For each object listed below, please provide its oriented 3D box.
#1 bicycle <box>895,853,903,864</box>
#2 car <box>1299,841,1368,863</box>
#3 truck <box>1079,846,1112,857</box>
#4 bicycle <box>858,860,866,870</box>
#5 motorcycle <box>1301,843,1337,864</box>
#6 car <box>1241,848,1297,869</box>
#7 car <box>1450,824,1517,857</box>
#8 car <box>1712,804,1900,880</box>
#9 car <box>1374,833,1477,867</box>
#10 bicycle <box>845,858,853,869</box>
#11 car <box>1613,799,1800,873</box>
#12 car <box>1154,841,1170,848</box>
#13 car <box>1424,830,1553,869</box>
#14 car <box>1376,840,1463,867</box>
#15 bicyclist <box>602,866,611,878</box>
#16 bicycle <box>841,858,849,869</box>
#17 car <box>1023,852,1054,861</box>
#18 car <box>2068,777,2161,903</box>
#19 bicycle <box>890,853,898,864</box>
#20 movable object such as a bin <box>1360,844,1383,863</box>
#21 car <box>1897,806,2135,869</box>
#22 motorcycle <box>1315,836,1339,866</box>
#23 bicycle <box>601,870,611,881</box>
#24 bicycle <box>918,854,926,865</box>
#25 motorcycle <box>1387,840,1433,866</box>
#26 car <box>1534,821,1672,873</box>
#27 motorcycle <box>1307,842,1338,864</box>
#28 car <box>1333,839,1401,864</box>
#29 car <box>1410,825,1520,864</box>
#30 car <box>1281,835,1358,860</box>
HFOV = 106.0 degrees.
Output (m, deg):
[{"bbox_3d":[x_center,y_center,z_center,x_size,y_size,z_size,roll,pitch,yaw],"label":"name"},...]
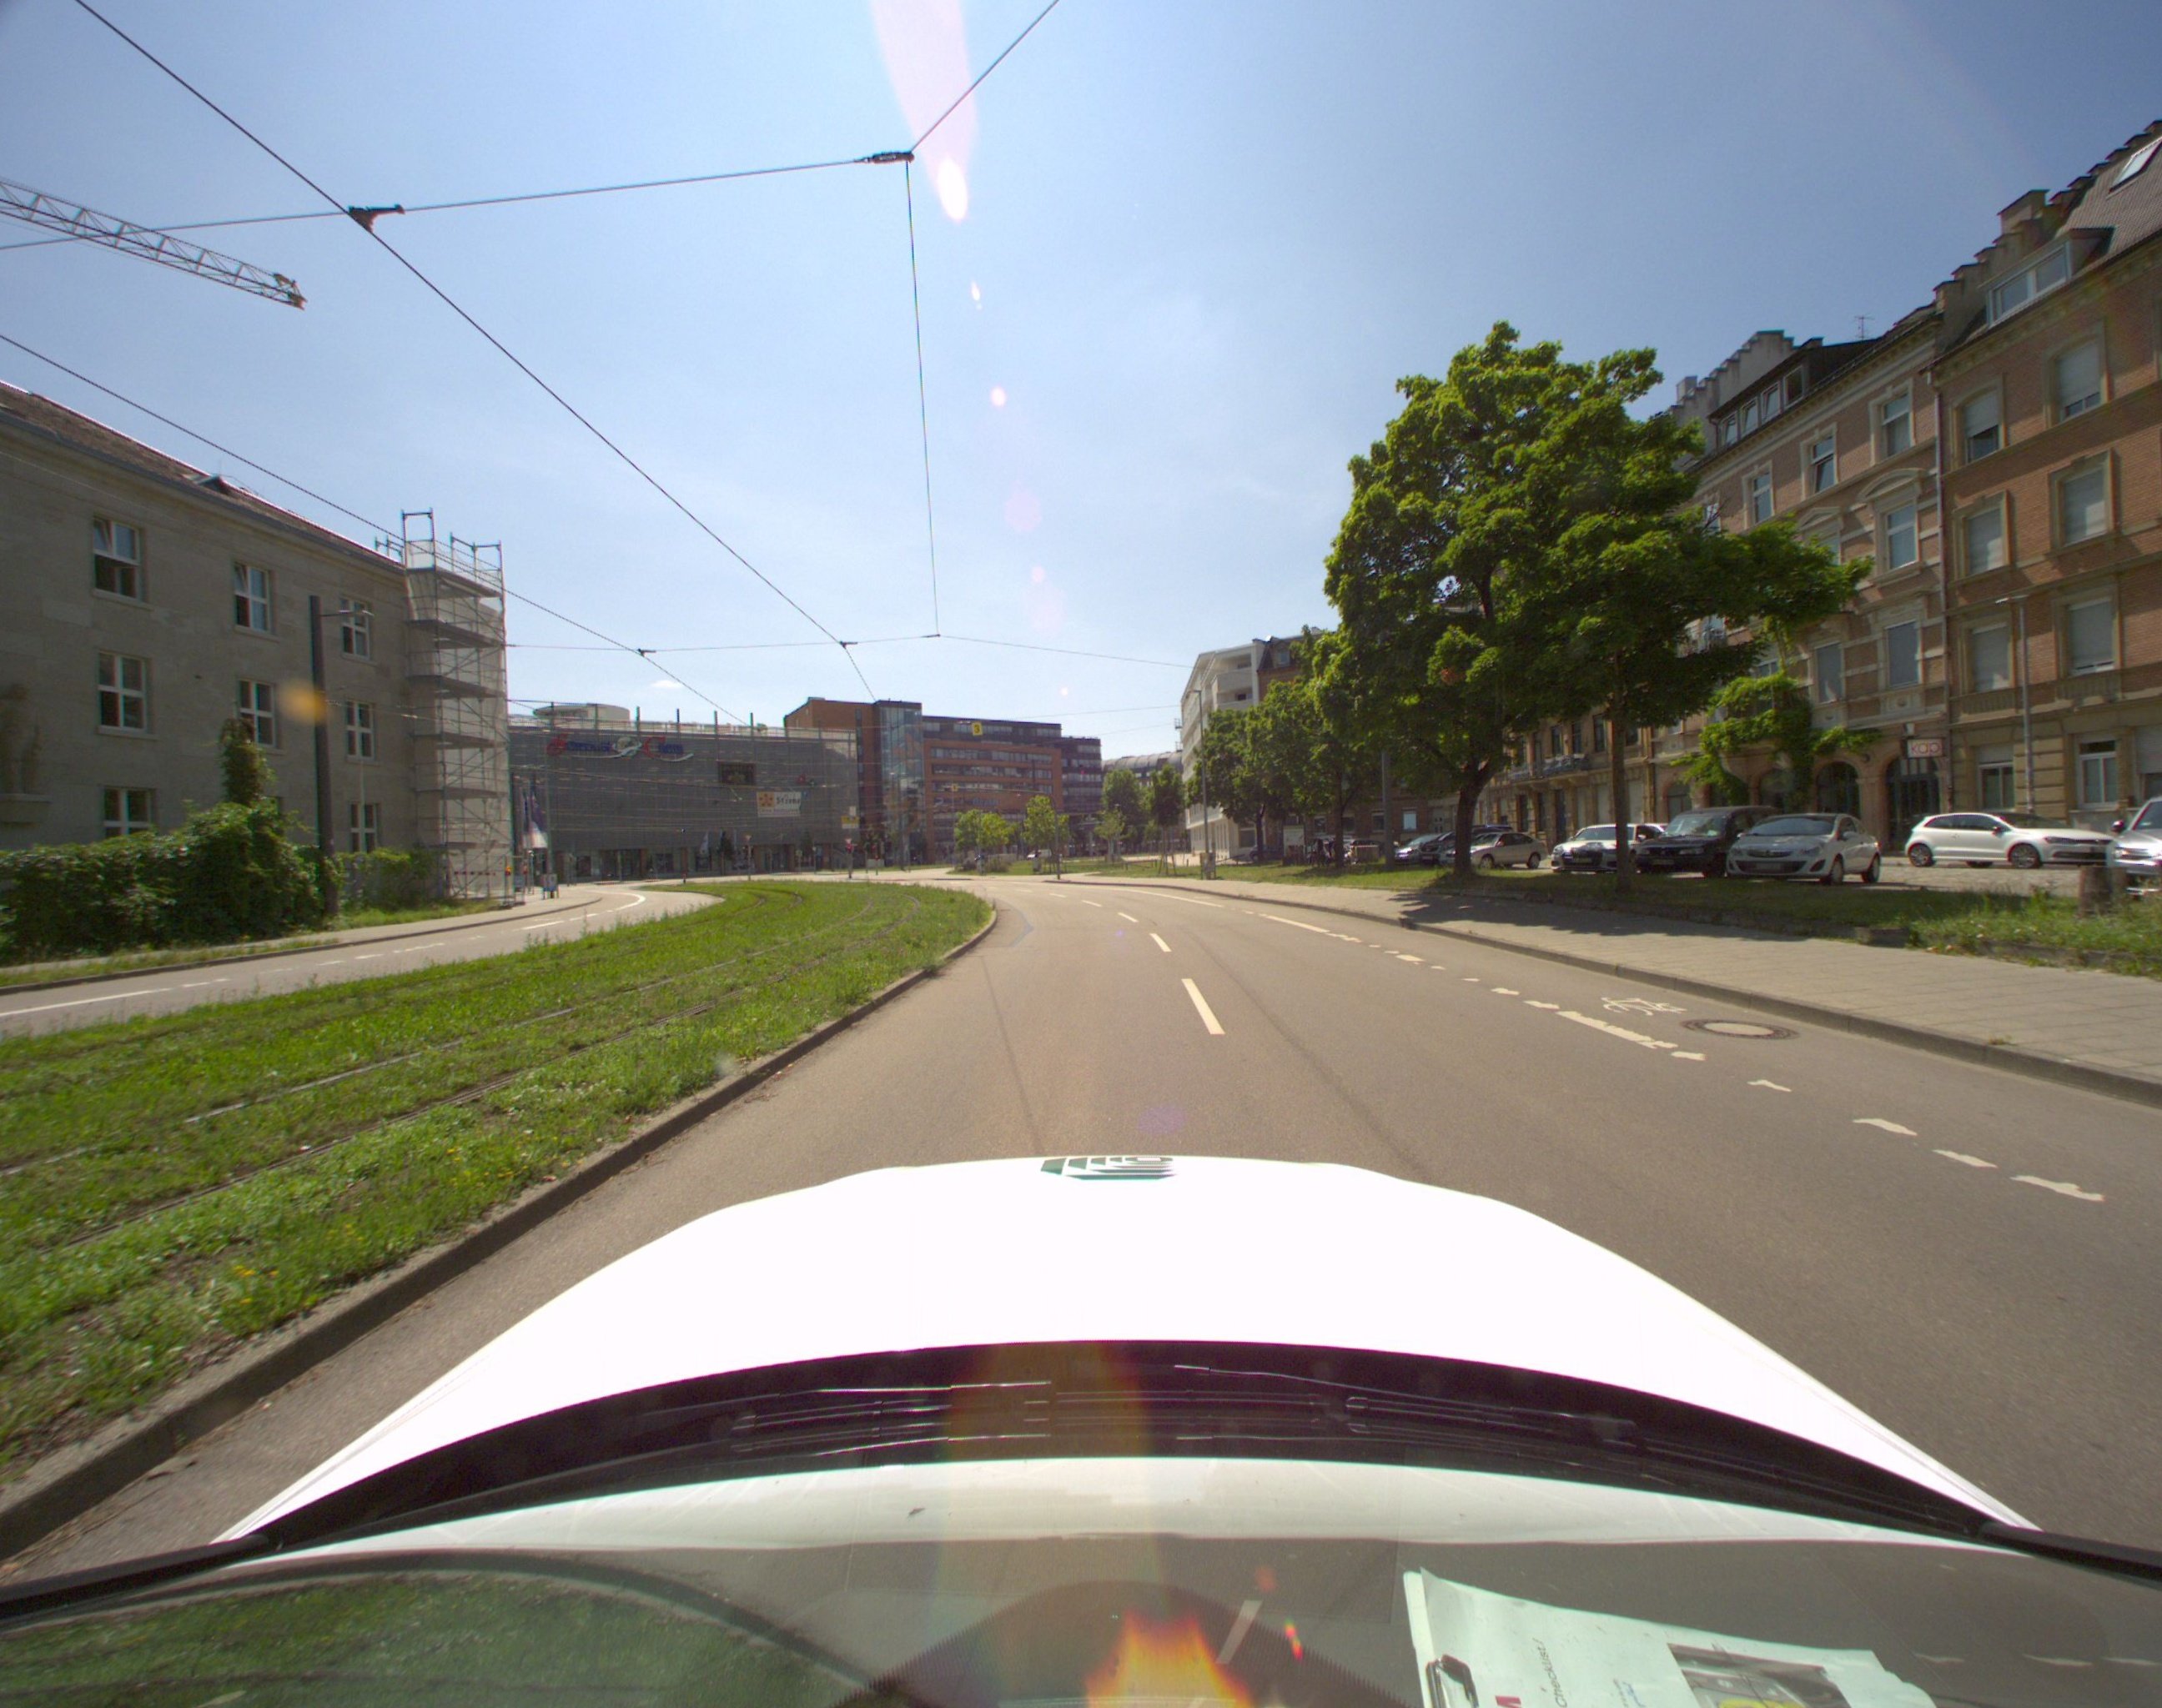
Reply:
[{"bbox_3d":[-31.700,0.778,141.736,0.488,2.013,2.322,-1,0,-33],"label":"bicycle"},{"bbox_3d":[15.761,-0.144,50.870,4.006,1.332,1.744,-1,0,-25],"label":"car"},{"bbox_3d":[3.884,-0.542,218.287,9.120,2.809,2.013,-1,0,34],"label":"truck"},{"bbox_3d":[-36.720,1.834,136.699,0.603,1.731,2.236,-1,0,-34],"label":"bicycle"},{"bbox_3d":[12.969,-0.016,44.320,1.819,1.120,0.527,-1,0,-5],"label":"motorcycle"},{"bbox_3d":[15.376,0.361,66.668,4.077,1.624,1.706,-1,0,32],"label":"car"},{"bbox_3d":[24.157,-0.772,49.058,1.912,1.904,4.657,-1,0,3],"label":"car"},{"bbox_3d":[14.878,-0.245,16.674,4.012,1.400,1.696,-1,0,-30],"label":"car"},{"bbox_3d":[14.902,-0.176,35.194,4.353,1.376,1.570,-1,0,-24],"label":"car"},{"bbox_3d":[-38.641,1.545,135.824,0.603,1.731,2.236,-1,0,-34],"label":"bicycle"},{"bbox_3d":[15.261,-0.418,19.883,4.005,1.662,1.957,-1,0,-24],"label":"car"},{"bbox_3d":[22.612,-2.579,226.591,3.948,1.728,1.878,-1,0,33],"label":"car"},{"bbox_3d":[14.788,-0.173,29.598,4.000,1.313,1.959,-1,0,-20],"label":"car"},{"bbox_3d":[18.119,-0.020,43.776,3.962,1.376,1.962,-1,0,10],"label":"car"},{"bbox_3d":[-63.870,2.387,109.553,1.046,1.571,0.770,-1,0,-29],"label":"bicyclist"},{"bbox_3d":[-39.280,1.581,135.389,0.603,1.731,2.236,-1,0,-34],"label":"bicycle"},{"bbox_3d":[-7.532,0.449,145.231,5.509,1.668,1.976,-1,0,-41],"label":"car"},{"bbox_3d":[14.344,-0.189,10.304,4.712,1.427,1.951,-1,0,-35],"label":"car"},{"bbox_3d":[-32.434,0.770,141.271,0.488,2.013,2.322,-1,0,-33],"label":"bicycle"},{"bbox_3d":[14.670,-0.031,41.141,0.979,0.937,0.704,-1,0,13],"label":"movable object such as a bin"},{"bbox_3d":[23.166,-0.376,20.412,1.772,1.420,3.717,-1,0,2],"label":"car"},{"bbox_3d":[12.084,-0.155,40.031,0.672,1.413,1.858,-3,0,4],"label":"motorcycle"},{"bbox_3d":[-63.829,2.916,109.488,1.068,1.390,2.996,-1,0,-28],"label":"bicycle"},{"bbox_3d":[-28.221,0.971,144.495,0.488,1.796,2.235,-1,0,-33],"label":"bicycle"},{"bbox_3d":[16.469,-0.057,40.770,2.062,1.236,0.816,-1,0,18],"label":"motorcycle"},{"bbox_3d":[14.697,-0.196,22.822,4.814,1.313,2.123,-1,0,-43],"label":"car"},{"bbox_3d":[12.815,-0.046,43.210,1.514,1.120,0.478,-1,0,2],"label":"motorcycle"},{"bbox_3d":[17.162,-0.152,48.816,3.877,1.432,1.593,-1,0,-27],"label":"car"},{"bbox_3d":[15.245,-0.370,32.313,4.099,1.470,1.783,-1,0,-25],"label":"car"},{"bbox_3d":[15.625,-0.445,53.392,4.882,1.601,1.821,-1,0,-25],"label":"car"}]
